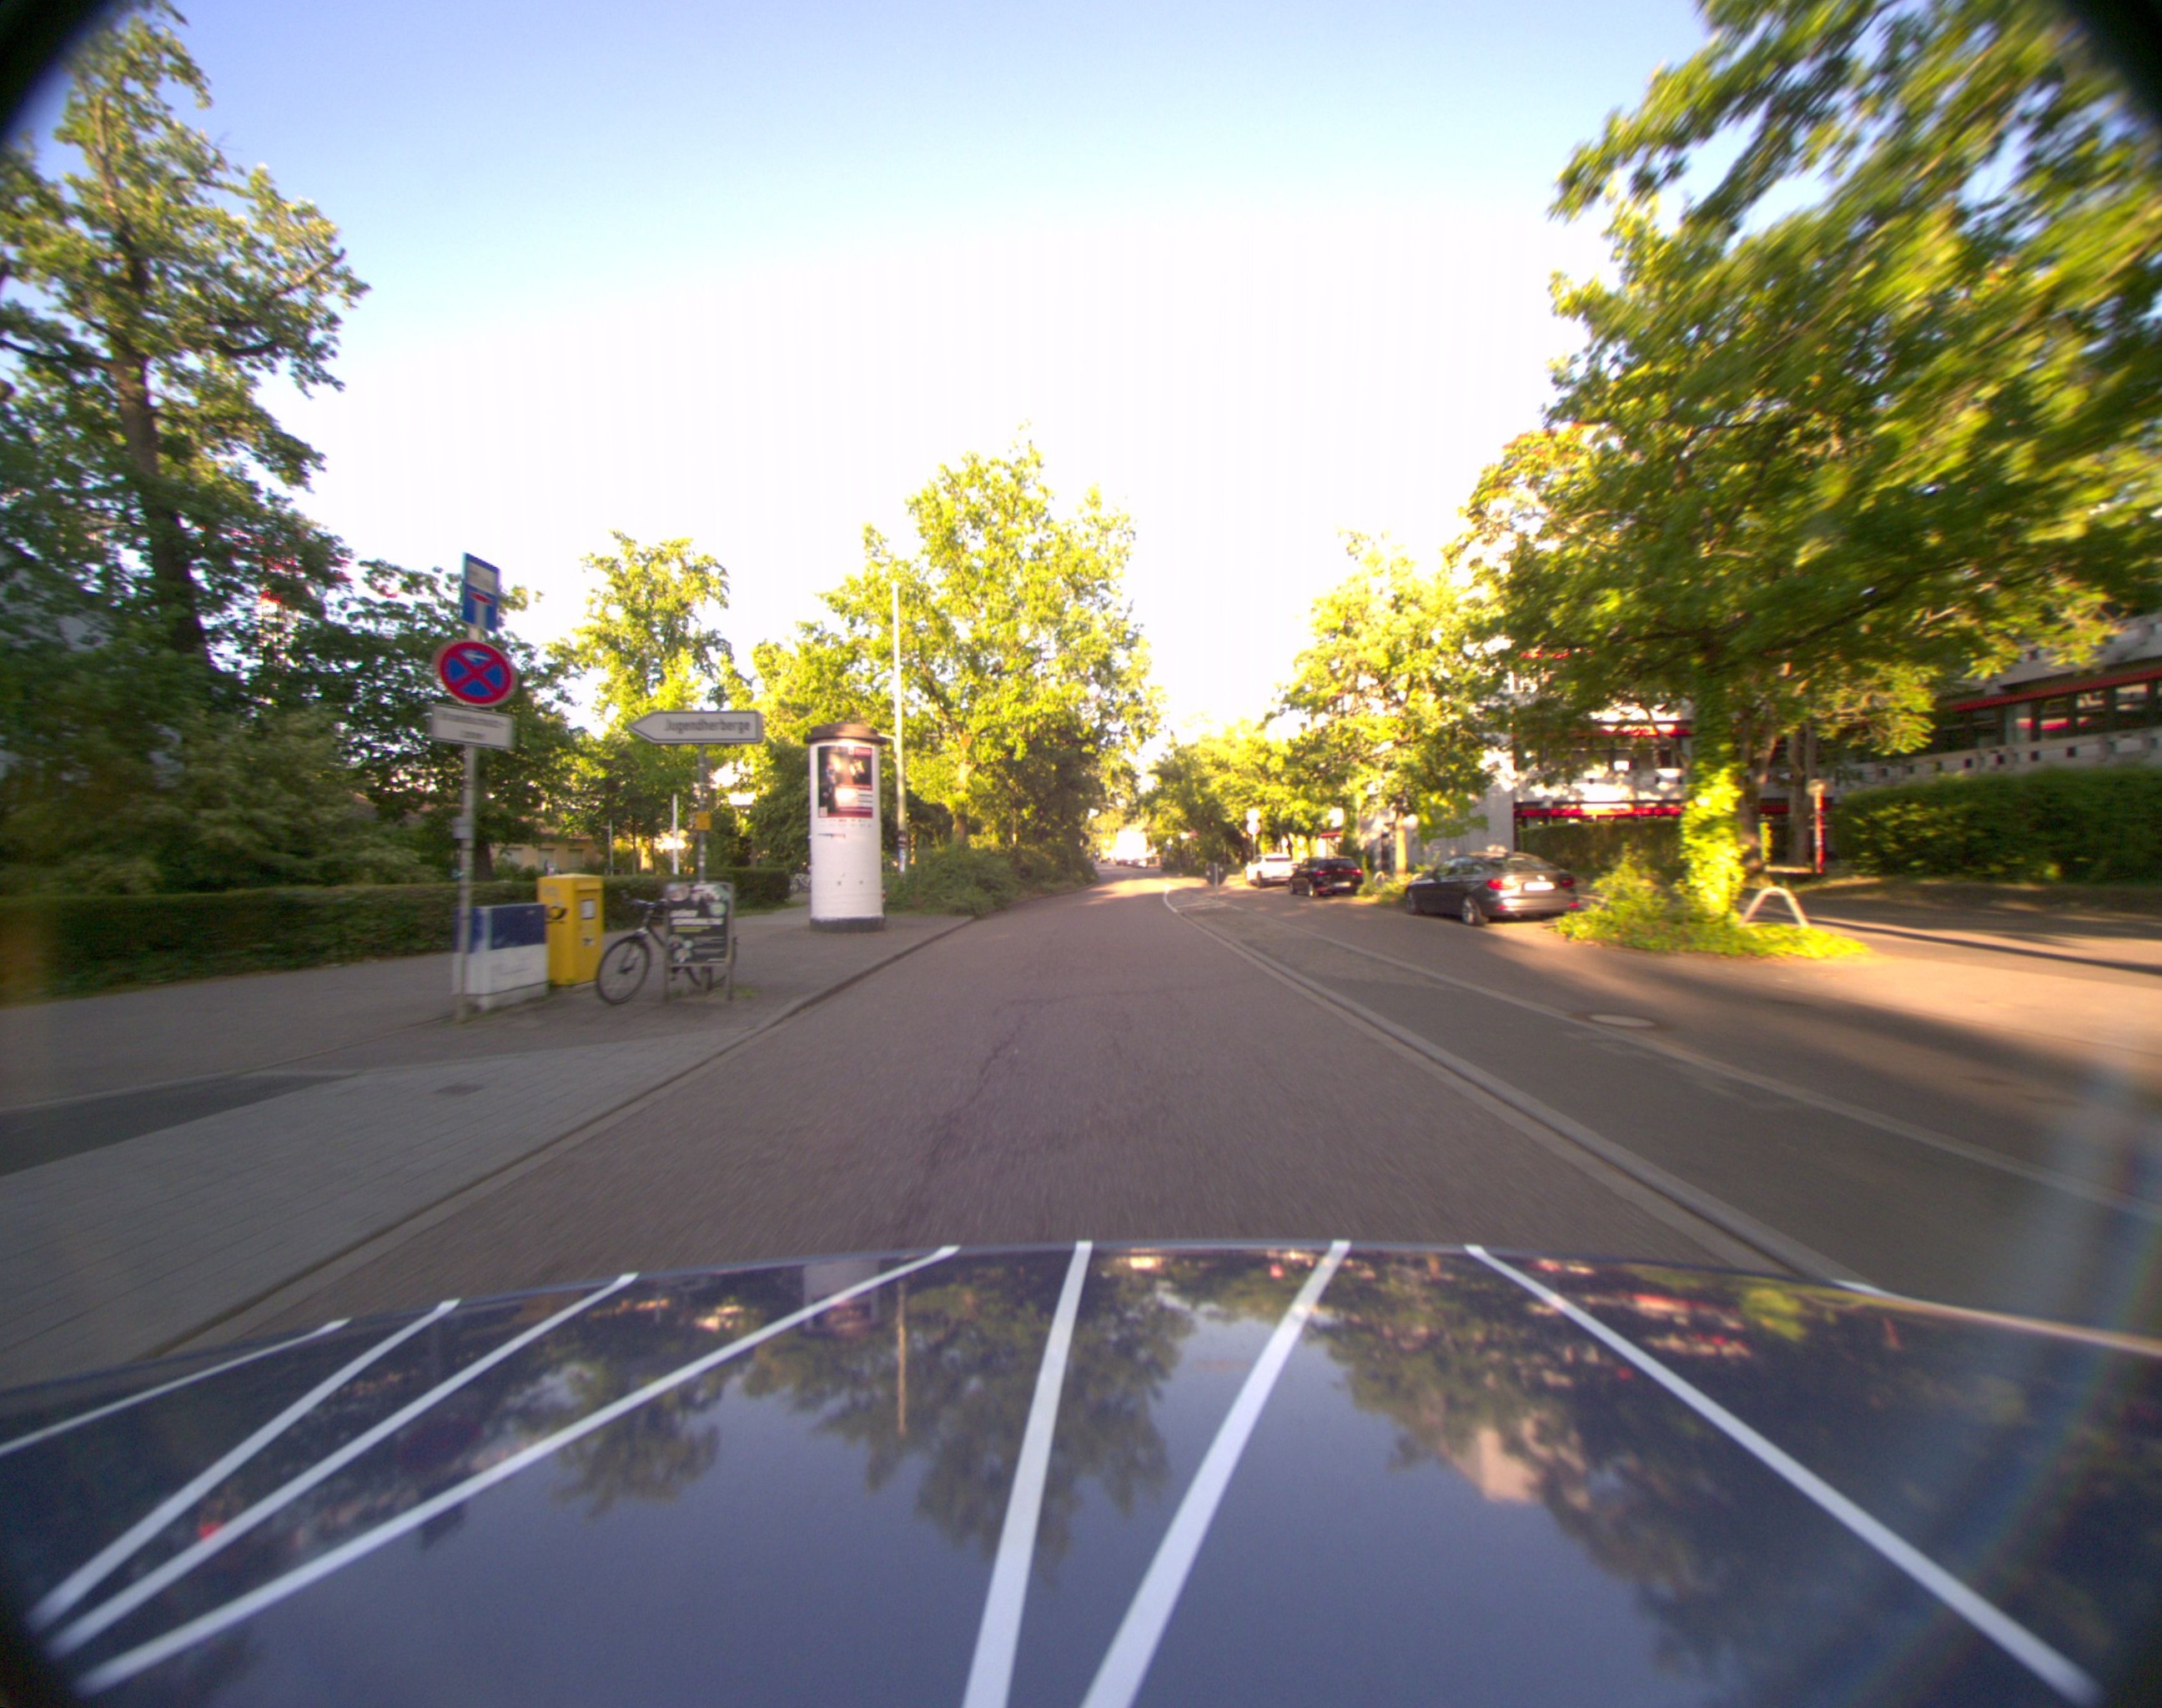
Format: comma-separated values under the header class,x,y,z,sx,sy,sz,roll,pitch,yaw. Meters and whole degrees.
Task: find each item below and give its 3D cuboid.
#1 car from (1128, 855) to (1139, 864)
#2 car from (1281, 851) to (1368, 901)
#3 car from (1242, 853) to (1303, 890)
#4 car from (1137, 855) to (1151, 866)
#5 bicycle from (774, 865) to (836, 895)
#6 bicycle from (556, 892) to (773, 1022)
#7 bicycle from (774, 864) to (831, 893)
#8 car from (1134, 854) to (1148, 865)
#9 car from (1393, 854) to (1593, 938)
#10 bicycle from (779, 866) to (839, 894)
class,x,y,z,sx,sy,sz,roll,pitch,yaw
car,9.791,0.998,142.645,1.776,1.559,4.109,-2,0,0
car,8.690,0.725,27.469,1.784,1.606,4.147,-2,0,0
car,8.895,0.756,35.591,1.808,1.606,4.147,-1,0,0
car,9.340,0.962,112.855,1.776,1.474,4.109,-2,0,0
bicycle,-11.910,1.131,32.870,2.451,1.214,0.750,-1,0,-13
bicycle,-4.431,1.033,8.335,0.493,1.141,2.289,2,0,20
bicycle,-13.075,1.156,35.788,2.452,1.291,0.750,-1,1,-16
car,9.396,0.895,118.985,1.776,1.559,4.109,-2,0,0
car,8.719,0.790,16.666,1.807,1.502,4.862,-2,0,1
bicycle,-12.198,1.154,34.170,2.452,1.214,0.750,-1,0,-16
